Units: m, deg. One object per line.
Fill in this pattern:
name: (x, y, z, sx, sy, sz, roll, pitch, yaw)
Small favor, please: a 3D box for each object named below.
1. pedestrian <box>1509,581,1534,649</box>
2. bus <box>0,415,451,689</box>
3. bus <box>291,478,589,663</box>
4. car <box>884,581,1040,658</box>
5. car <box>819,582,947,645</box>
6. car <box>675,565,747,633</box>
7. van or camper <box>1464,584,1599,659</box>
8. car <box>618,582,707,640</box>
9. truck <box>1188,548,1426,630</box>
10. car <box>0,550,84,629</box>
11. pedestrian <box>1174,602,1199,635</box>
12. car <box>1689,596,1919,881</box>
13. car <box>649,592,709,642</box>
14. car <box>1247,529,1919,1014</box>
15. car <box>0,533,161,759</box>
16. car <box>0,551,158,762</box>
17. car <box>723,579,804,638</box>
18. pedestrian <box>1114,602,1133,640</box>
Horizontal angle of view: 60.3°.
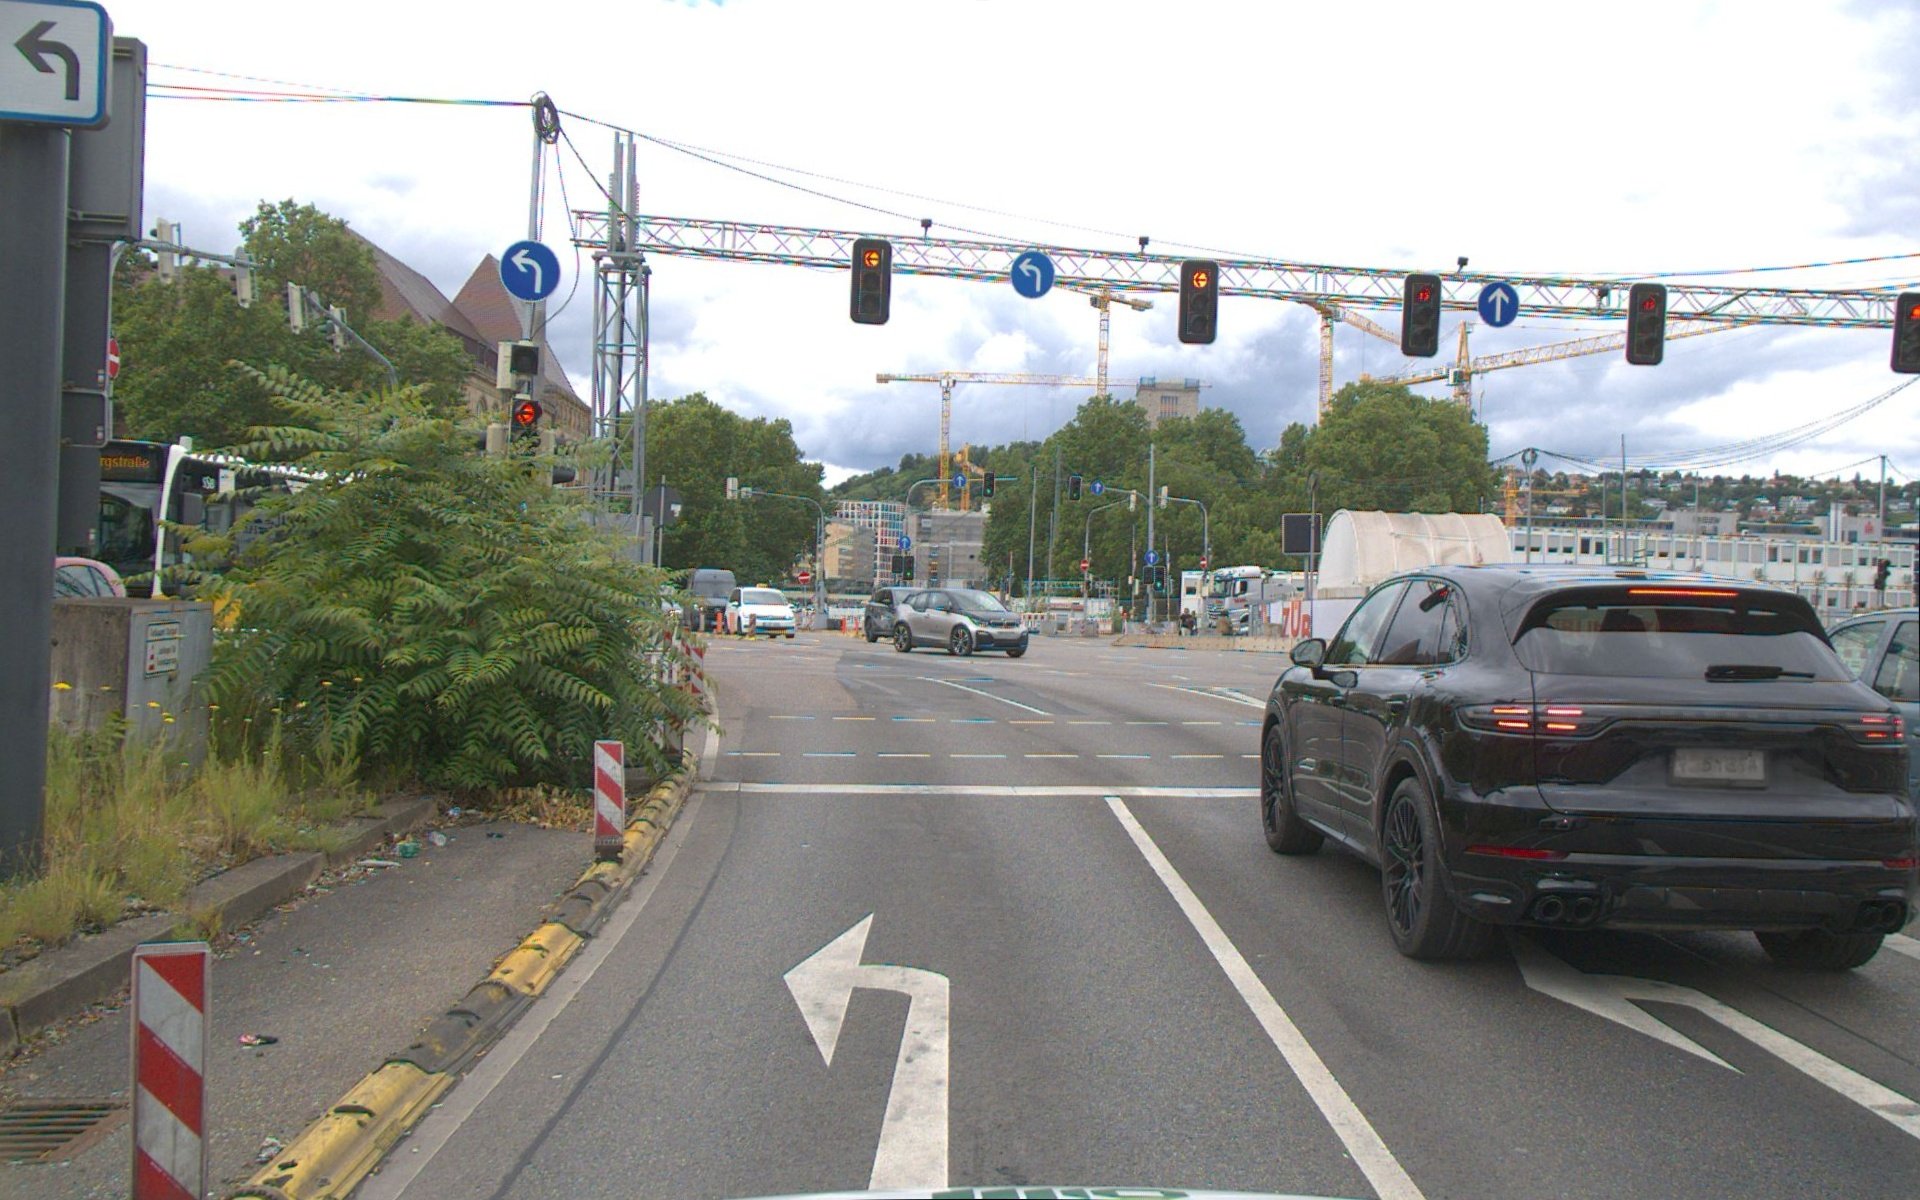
pedestrian: (17.096, 0.459, 50.343, 0.638, 2.049, 0.517, 1, 0, 23)
bus: (-10.688, -0.600, 24.316, 2.786, 3.168, 9.753, 2, 0, 3)
bus: (-10.199, -0.538, 33.735, 2.786, 3.168, 9.125, 2, 0, 2)
car: (-0.012, 0.443, 39.969, 1.779, 1.697, 4.016, 2, 0, -35)
car: (-2.338, 0.379, 49.200, 1.859, 1.699, 4.561, 2, 0, -31)
car: (-10.321, -0.066, 68.156, 2.024, 2.639, 5.985, 2, 0, -17)
van or camper: (19.557, 0.721, 56.753, 4.123, 2.398, 2.002, 2, 0, 13)
car: (-8.252, 0.273, 46.173, 1.840, 1.498, 4.442, 2, 0, -3)
truck: (19.166, -0.561, 91.205, 12.843, 4.111, 3.925, 1, 0, -22)
car: (-22.178, -0.288, 36.919, 4.241, 1.705, 1.992, 2, 0, -16)
pedestrian: (9.851, 0.797, 71.949, 0.782, 1.402, 0.902, 2, 0, -11)
car: (6.161, 0.796, 10.100, 1.629, 1.570, 3.881, 2, 0, -1)
car: (-10.377, 0.602, 60.845, 1.846, 1.699, 4.429, 2, 0, -14)
car: (2.856, 0.618, 8.324, 1.915, 1.715, 4.634, 2, 0, -1)
car: (-7.822, 0.320, 12.947, 1.632, 1.619, 3.876, 0, 0, -7)
car: (-7.992, 0.404, 13.681, 1.505, 1.578, 2.821, 1, 0, -5)
car: (-6.438, 0.232, 53.720, 1.848, 1.766, 4.424, 2, 0, -17)
pedestrian: (7.524, 0.954, 76.159, 0.715, 1.718, 0.677, 2, 0, -2)
